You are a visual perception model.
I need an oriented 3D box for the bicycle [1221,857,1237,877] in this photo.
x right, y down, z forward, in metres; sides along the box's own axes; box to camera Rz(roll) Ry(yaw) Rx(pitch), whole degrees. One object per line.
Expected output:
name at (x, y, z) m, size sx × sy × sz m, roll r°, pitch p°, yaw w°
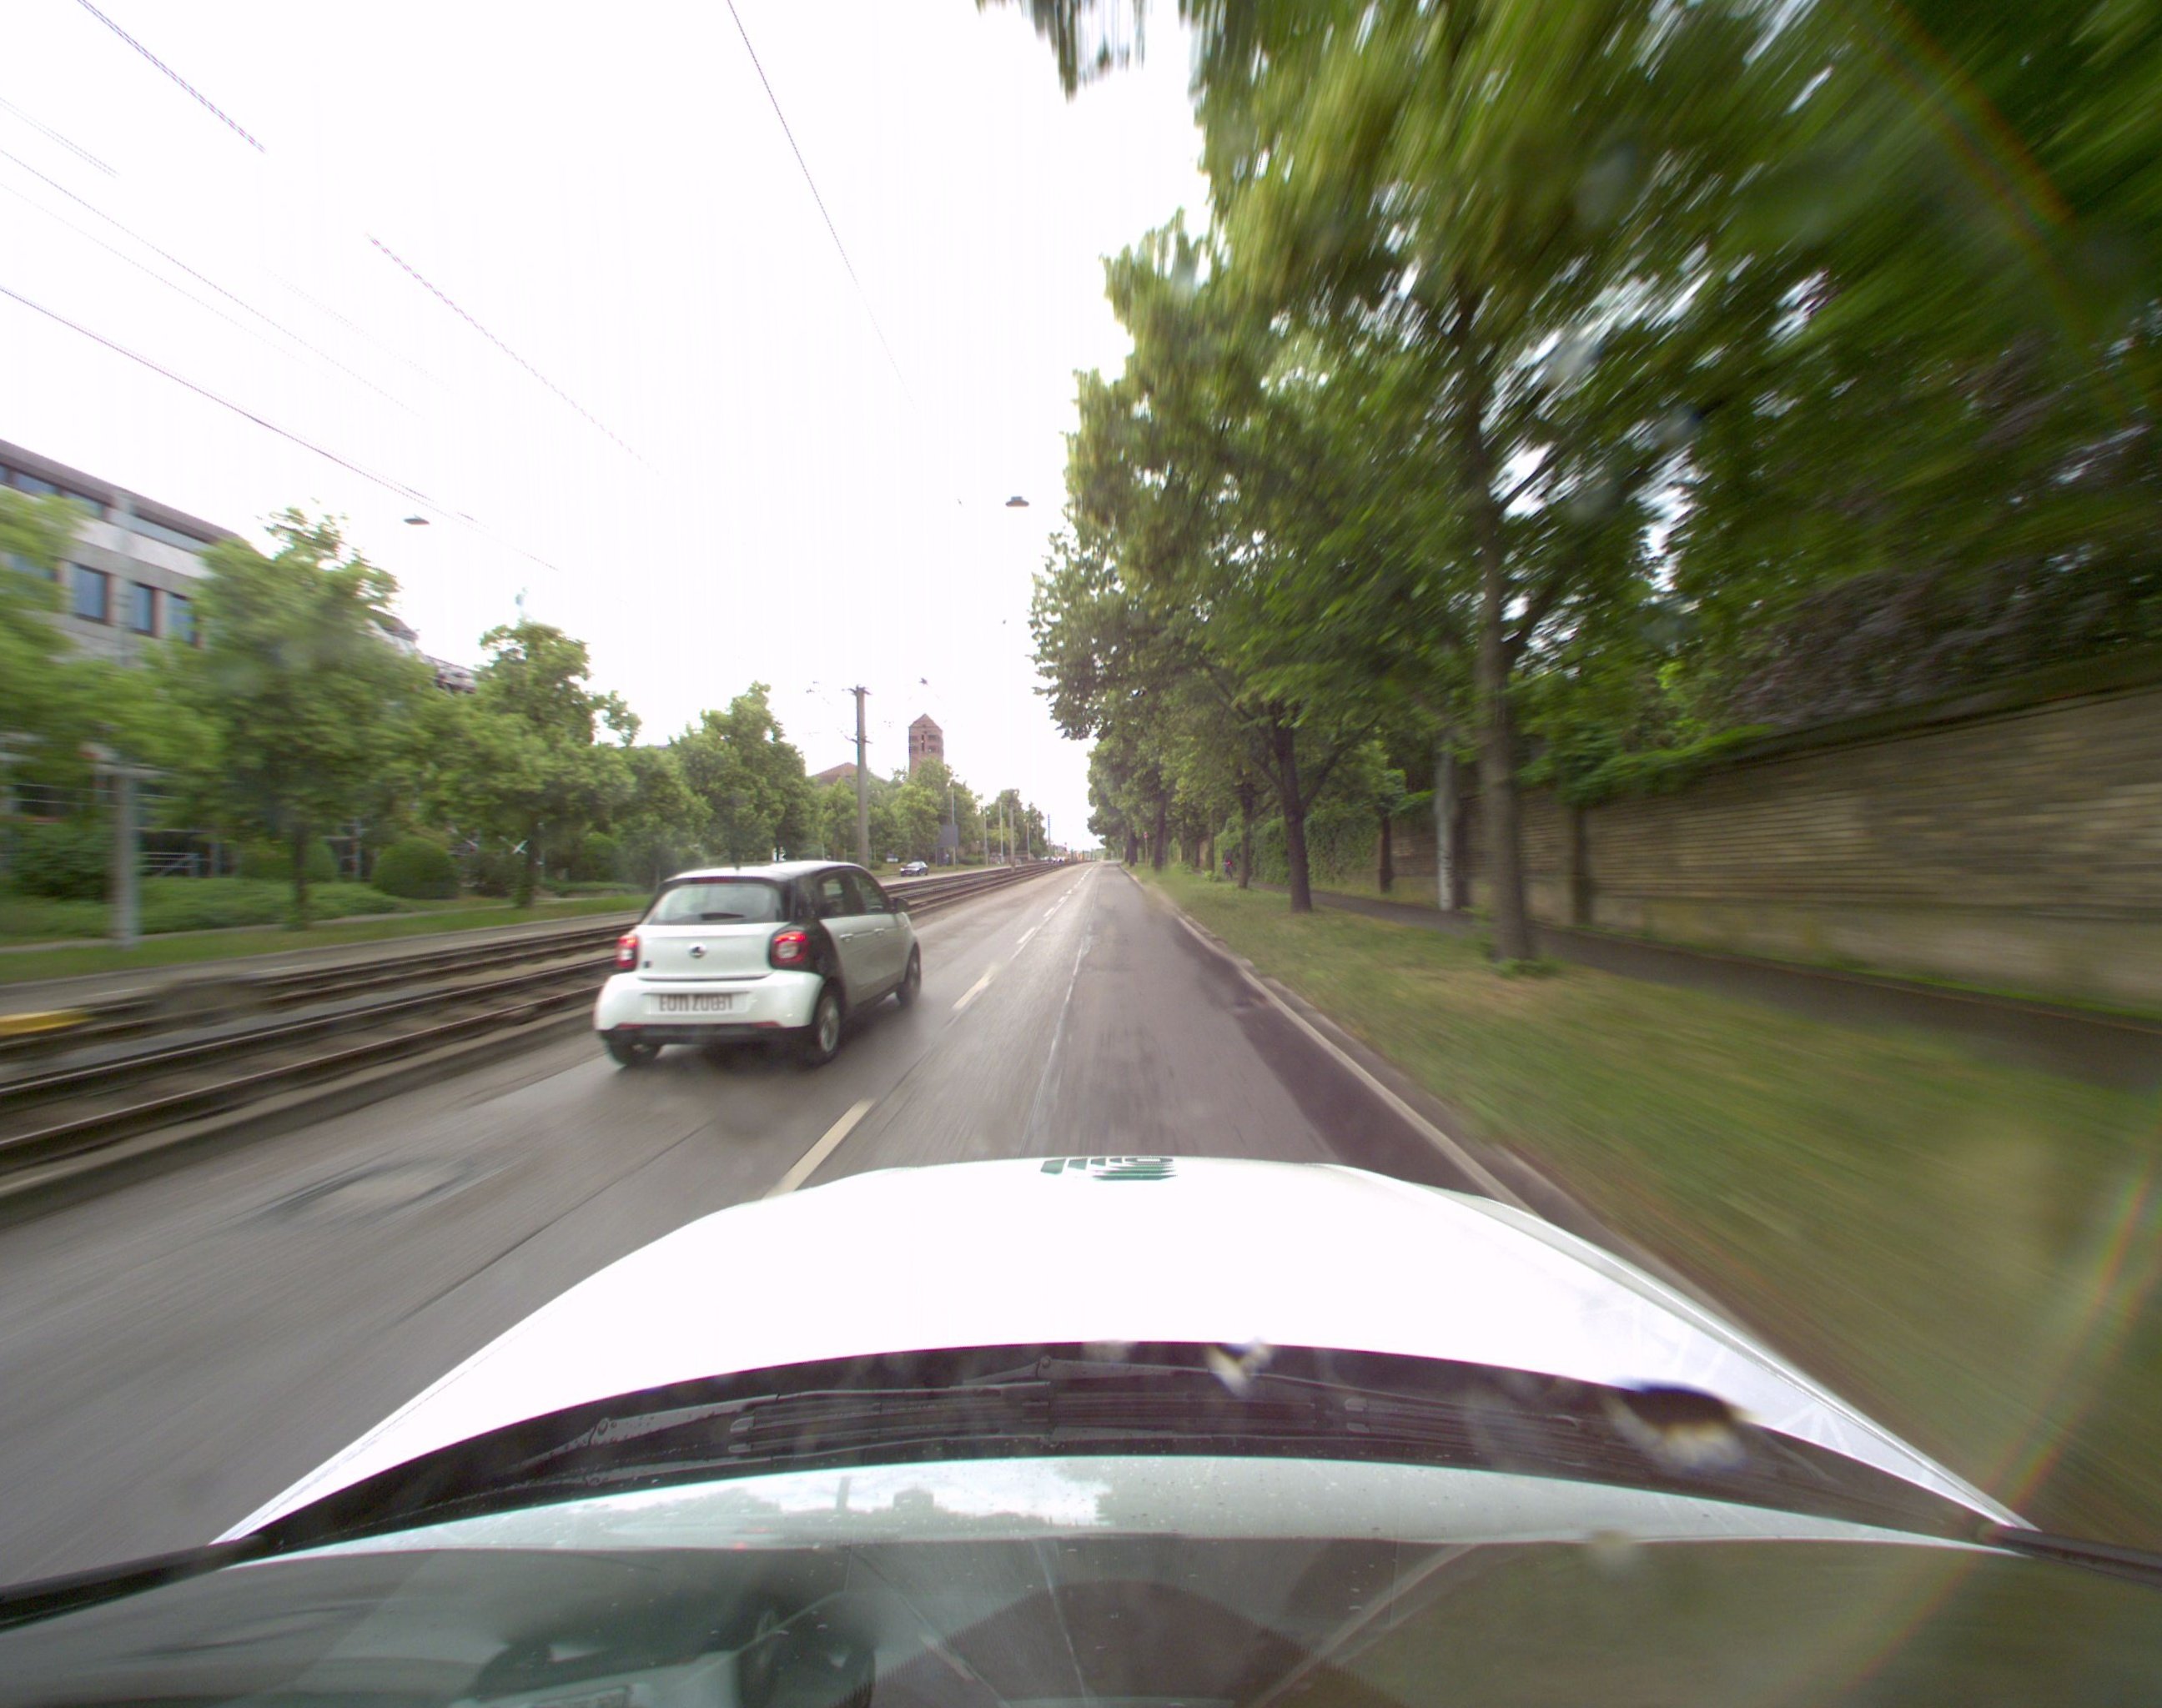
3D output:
bicycle at (7.497, 0.627, 41.297) m, size 0.540 × 0.948 × 2.553 m, roll -2°, pitch 0°, yaw 5°

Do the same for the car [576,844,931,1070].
car at (-2.649, 0.718, 7.591) m, size 1.670 × 1.531 × 3.723 m, roll -2°, pitch 0°, yaw 1°

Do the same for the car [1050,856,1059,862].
car at (-7.840, 1.593, 240.501) m, size 2.003 × 1.656 × 4.624 m, roll -2°, pitch 0°, yaw 6°

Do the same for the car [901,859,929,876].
car at (-16.682, 1.349, 81.907) m, size 1.788 × 1.530 × 4.622 m, roll -2°, pitch 0°, yaw 0°

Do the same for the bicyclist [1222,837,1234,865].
bicyclist at (7.463, -0.139, 41.342) m, size 0.532 × 1.389 × 0.667 m, roll -2°, pitch 0°, yaw 4°
